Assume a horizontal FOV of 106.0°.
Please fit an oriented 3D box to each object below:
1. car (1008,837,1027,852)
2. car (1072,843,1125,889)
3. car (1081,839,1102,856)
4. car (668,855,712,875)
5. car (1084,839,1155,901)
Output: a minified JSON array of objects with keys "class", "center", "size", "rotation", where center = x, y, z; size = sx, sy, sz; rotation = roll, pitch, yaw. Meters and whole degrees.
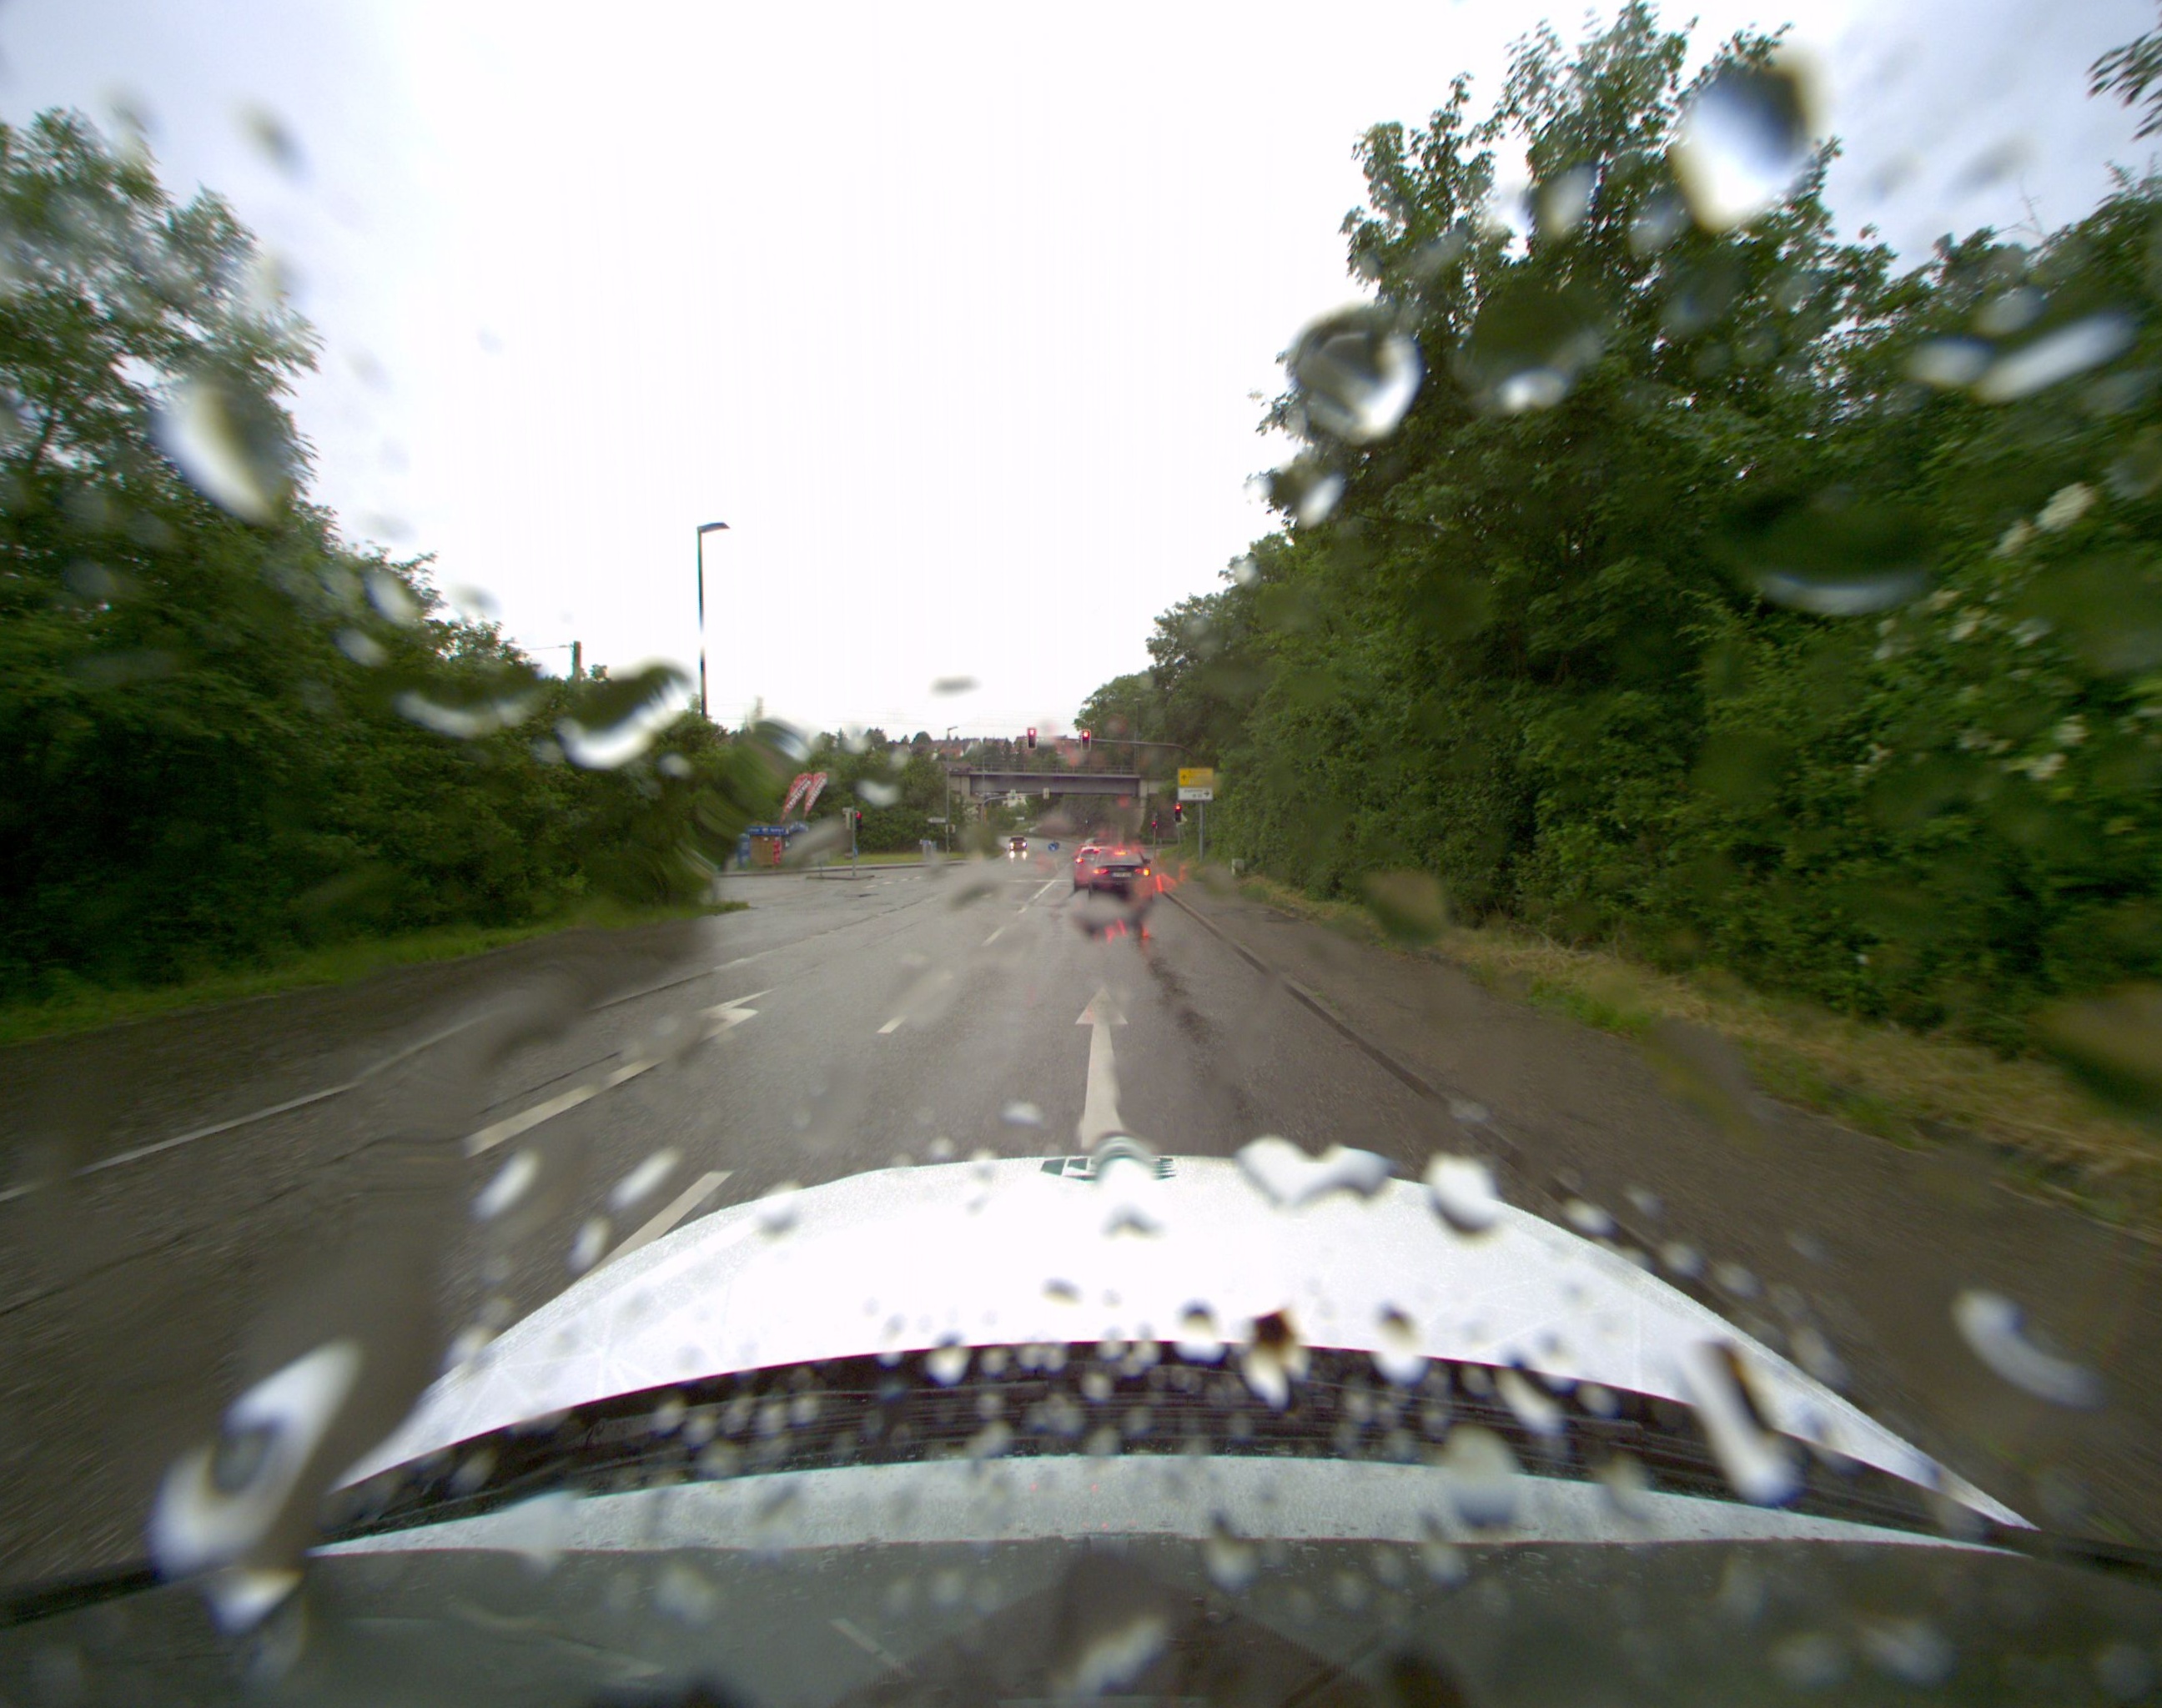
[{"class":"car","center":[-7.393,-1.115,94.431],"size":[1.991,1.628,3.992],"rotation":[-2,1,-6]},{"class":"car","center":[0.667,0.427,30.179],"size":[1.816,1.585,4.001],"rotation":[-1,0,1]},{"class":"car","center":[1.014,-0.604,79.589],"size":[1.986,1.585,4.001],"rotation":[-1,0,1]},{"class":"car","center":[-27.755,0.779,57.968],"size":[1.652,1.340,4.883],"rotation":[-1,0,-11]},{"class":"car","center":[1.058,0.401,23.439],"size":[1.863,1.616,4.002],"rotation":[0,1,1]}]
